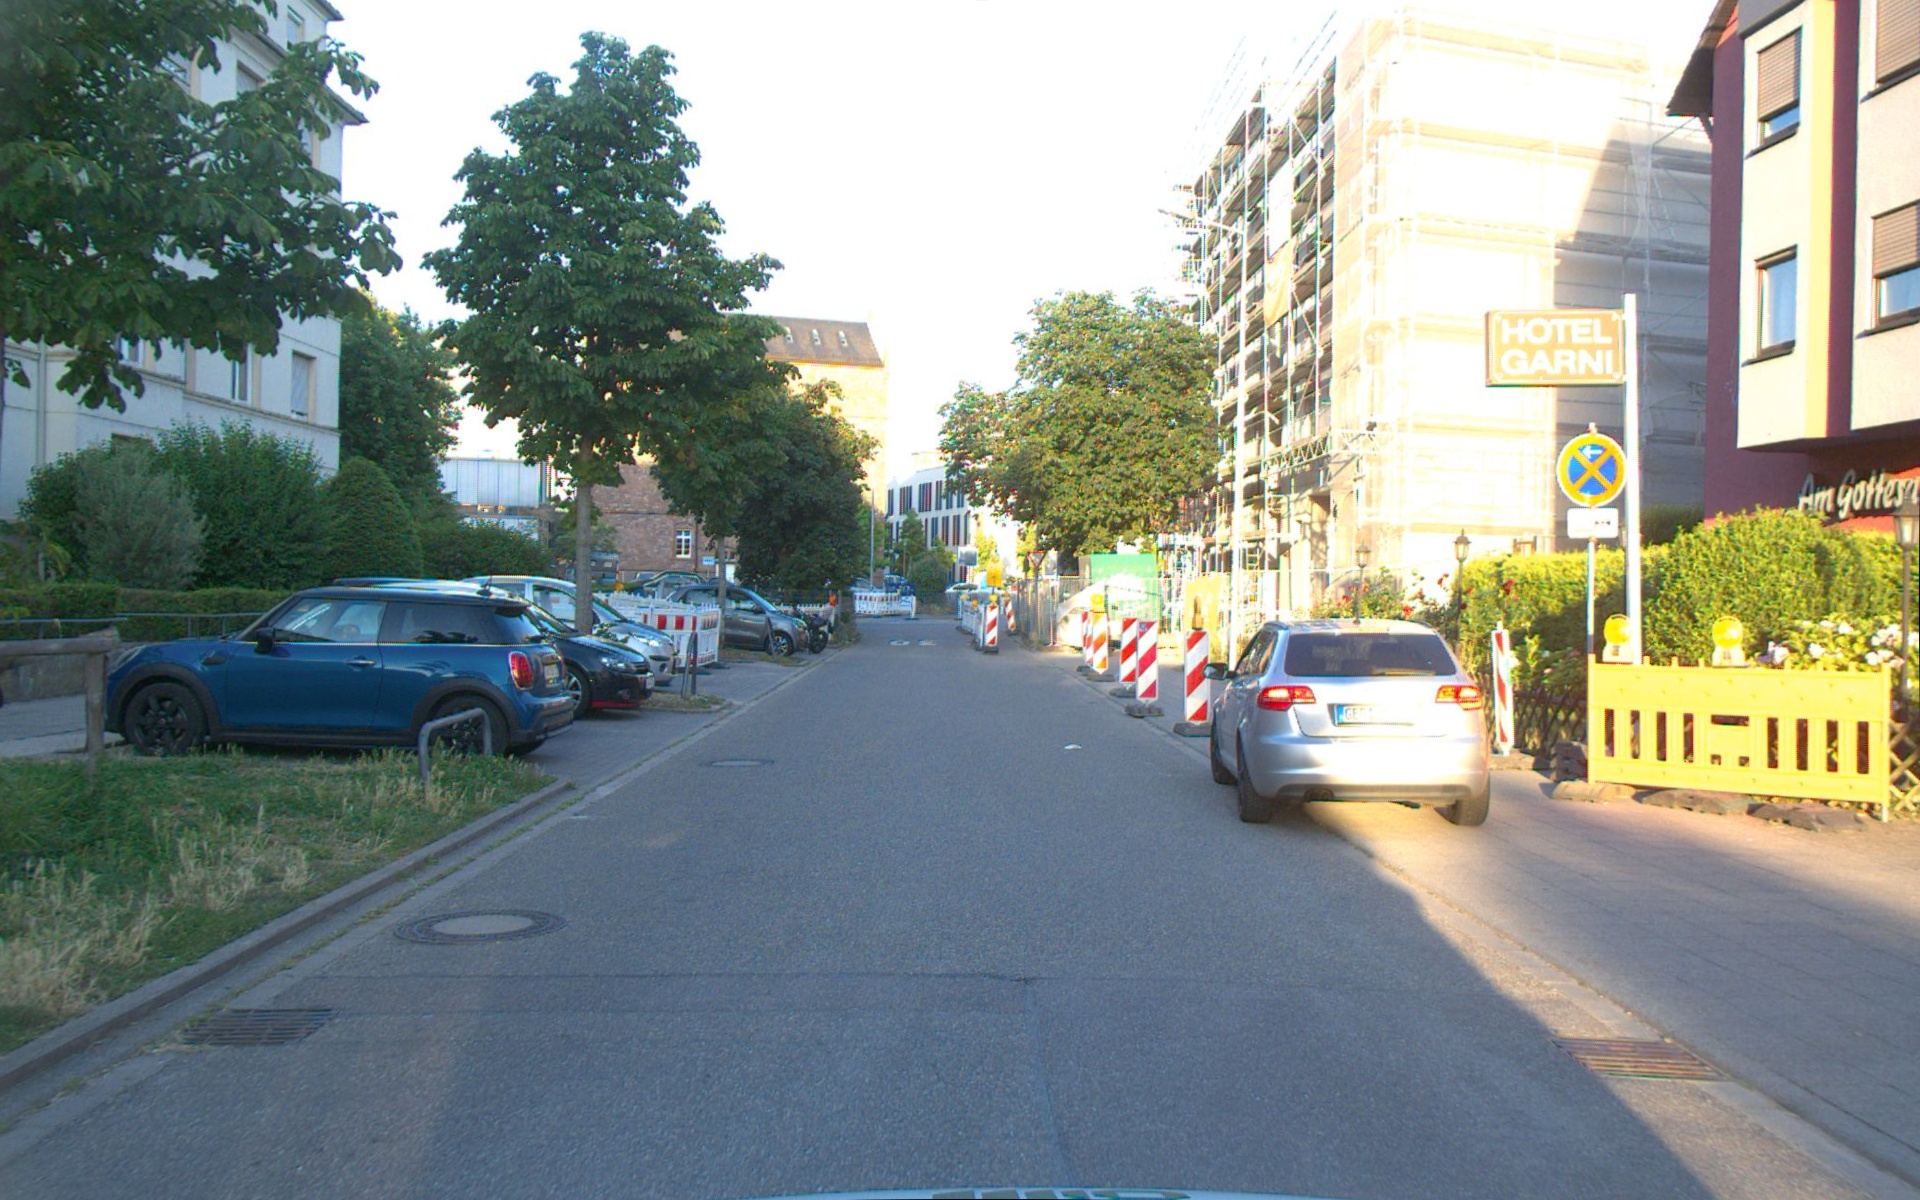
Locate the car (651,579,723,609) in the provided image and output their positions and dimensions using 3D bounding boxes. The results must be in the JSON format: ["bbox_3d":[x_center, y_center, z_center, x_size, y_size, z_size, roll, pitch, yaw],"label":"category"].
[{"bbox_3d":[-14.501,-0.329,87.726,3.574,1.530,1.629,1,0,-17],"label":"car"}]

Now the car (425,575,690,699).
[{"bbox_3d":[-5.744,0.531,23.946,3.406,1.593,1.726,2,-1,-4],"label":"car"}]

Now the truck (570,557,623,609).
[{"bbox_3d":[-19.296,-0.904,87.685,2.297,2.662,4.949,1,1,-18],"label":"truck"}]

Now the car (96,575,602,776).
[{"bbox_3d":[-5.087,0.616,14.122,3.601,1.470,1.728,2,-1,1],"label":"car"}]

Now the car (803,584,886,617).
[{"bbox_3d":[-6.299,0.012,90.199,4.206,1.738,1.693,1,0,-20],"label":"car"}]

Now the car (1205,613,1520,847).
[{"bbox_3d":[2.923,0.860,12.842,1.738,1.421,4.110,1,0,5],"label":"car"}]

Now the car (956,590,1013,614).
[{"bbox_3d":[1.760,0.118,117.689,3.688,1.631,1.675,1,0,-22],"label":"car"}]

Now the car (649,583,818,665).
[{"bbox_3d":[-5.108,0.531,37.638,3.550,1.584,1.692,4,0,-1],"label":"car"}]

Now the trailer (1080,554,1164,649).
[{"bbox_3d":[4.591,0.017,47.396,1.953,2.584,4.186,1,0,0],"label":"trailer"}]

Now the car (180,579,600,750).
[{"bbox_3d":[-5.694,0.632,16.841,3.601,1.510,1.728,2,-1,1],"label":"car"}]

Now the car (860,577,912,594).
[{"bbox_3d":[-6.118,-1.173,136.321,3.927,1.336,1.867,1,0,-20],"label":"car"}]

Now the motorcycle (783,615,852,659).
[{"bbox_3d":[-3.532,0.931,41.165,0.527,1.038,2.208,4,0,28],"label":"motorcycle"}]

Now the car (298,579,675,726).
[{"bbox_3d":[-5.509,0.605,19.580,3.895,1.515,1.728,2,-1,1],"label":"car"}]

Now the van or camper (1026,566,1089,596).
[{"bbox_3d":[7.875,-1.540,133.583,4.893,2.279,1.675,1,0,-23],"label":"van or camper"}]
